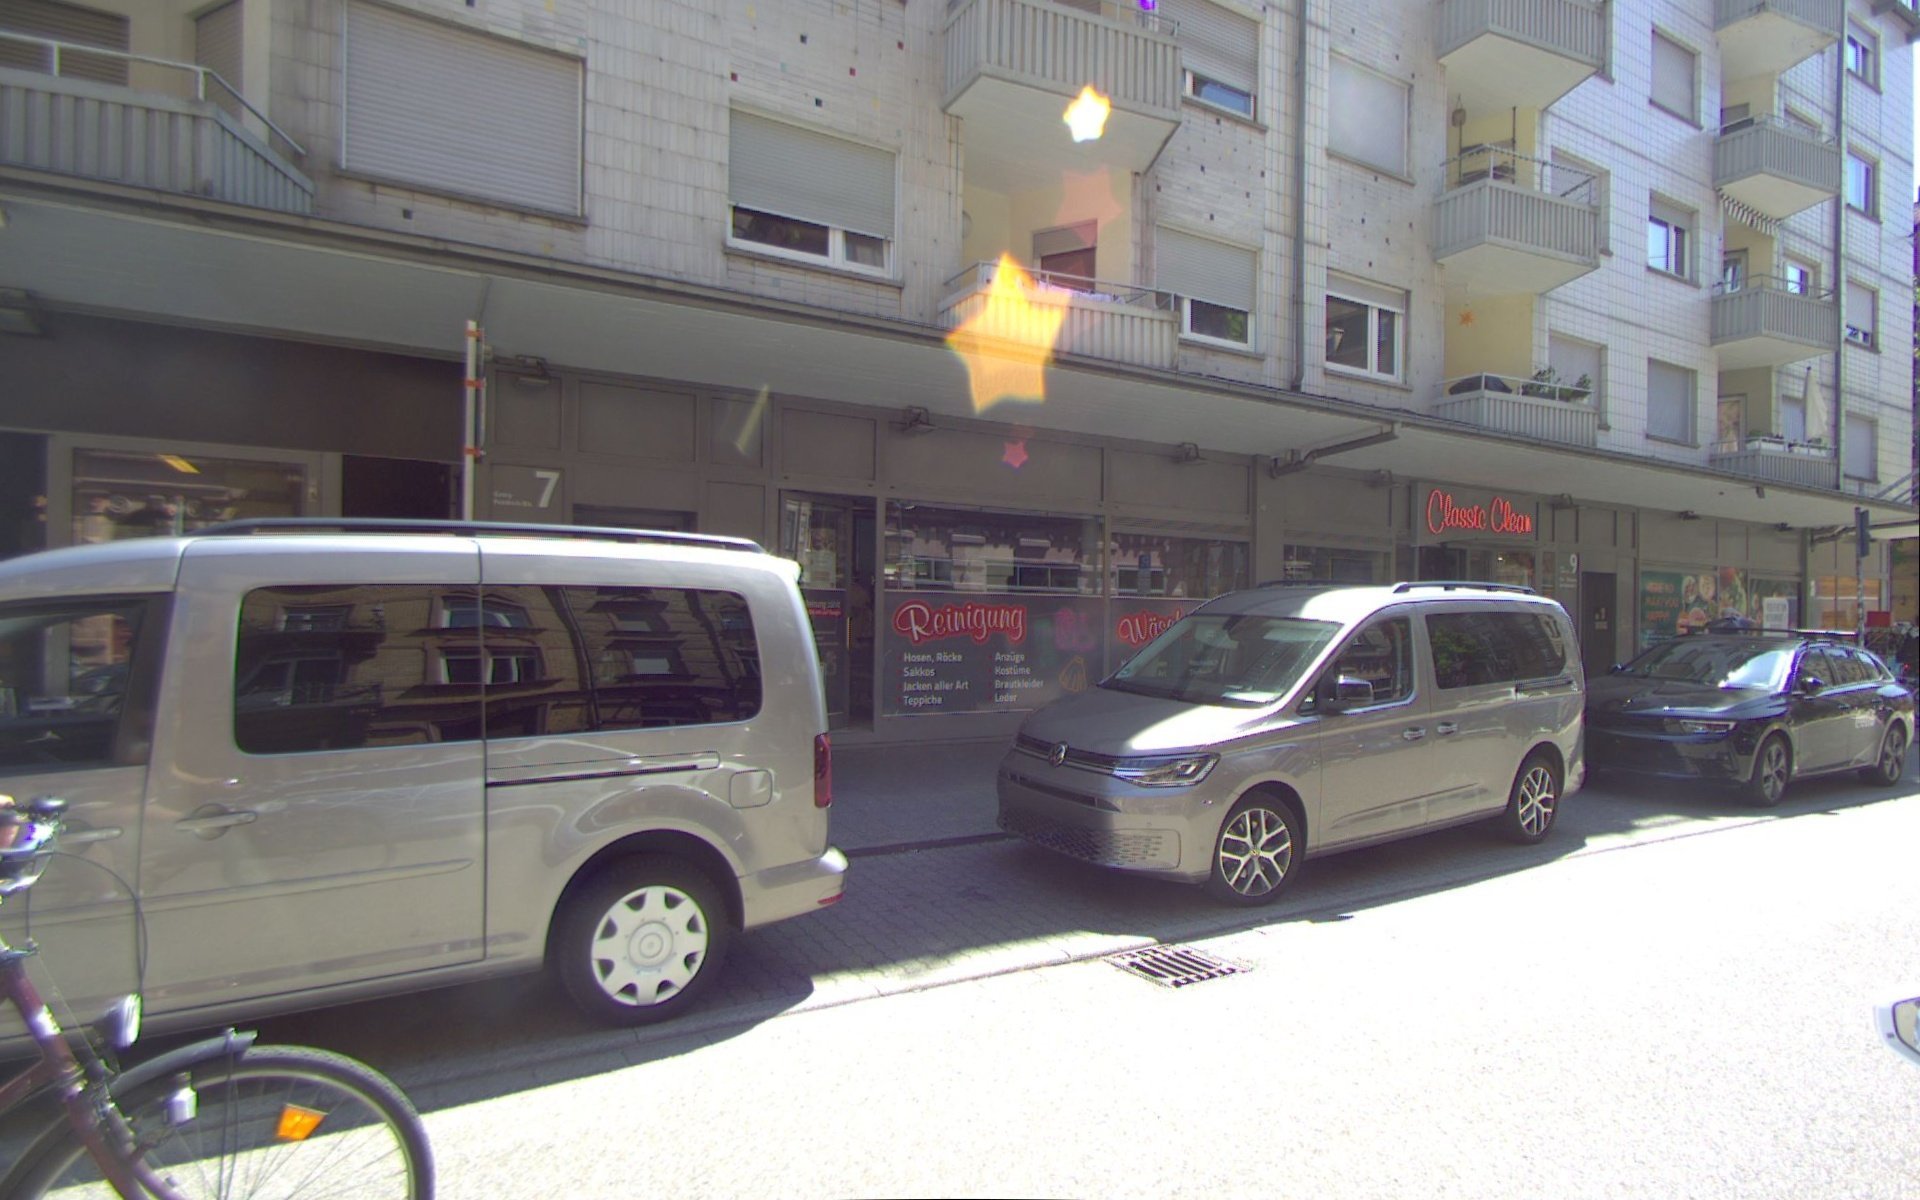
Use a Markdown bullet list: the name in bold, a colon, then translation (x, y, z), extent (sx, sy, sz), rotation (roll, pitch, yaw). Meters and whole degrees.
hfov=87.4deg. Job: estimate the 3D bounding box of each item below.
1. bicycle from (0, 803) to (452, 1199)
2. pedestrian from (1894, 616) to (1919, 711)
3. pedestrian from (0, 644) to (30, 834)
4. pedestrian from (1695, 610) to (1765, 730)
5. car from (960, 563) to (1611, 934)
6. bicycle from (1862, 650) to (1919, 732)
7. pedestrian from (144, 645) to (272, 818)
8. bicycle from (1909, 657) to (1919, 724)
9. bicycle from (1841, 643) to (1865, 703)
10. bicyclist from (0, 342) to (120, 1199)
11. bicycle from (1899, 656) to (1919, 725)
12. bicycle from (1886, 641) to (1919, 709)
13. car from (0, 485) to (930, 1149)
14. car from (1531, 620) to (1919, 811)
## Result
- **bicycle**: translation (-1.825, 0.972, 1.439), extent (1.917, 1.106, 0.600), rotation (1, -1, -31)
- **pedestrian**: translation (18.885, 1.237, 19.738), extent (0.927, 1.820, 0.527), rotation (1, -1, -30)
- **pedestrian**: translation (-6.091, 0.849, 6.155), extent (0.492, 1.141, 0.506), rotation (0, -1, 40)
- **pedestrian**: translation (11.510, 1.028, 15.028), extent (0.650, 1.749, 0.628), rotation (1, -1, -29)
- **car**: translation (2.435, 0.771, 6.997), extent (4.649, 1.835, 1.778), rotation (1, 0, -33)
- **bicycle**: translation (14.406, 1.370, 14.783), extent (0.521, 1.154, 1.574), rotation (1, 1, -33)
- **pedestrian**: translation (-5.202, 0.893, 6.972), extent (0.498, 1.141, 0.500), rotation (1, -1, -2)
- **bicycle**: translation (15.604, 1.451, 15.418), extent (0.332, 1.050, 1.439), rotation (1, 1, -33)
- **bicycle**: translation (17.648, 1.425, 19.852), extent (0.317, 1.101, 1.425), rotation (1, 0, 41)
- **bicyclist**: translation (-1.901, 0.500, 1.420), extent (0.967, 1.729, 0.620), rotation (1, -1, -30)
- **bicycle**: translation (15.233, 1.427, 15.155), extent (0.394, 1.044, 1.484), rotation (1, 1, -33)
- **bicycle**: translation (18.966, 1.453, 19.770), extent (1.988, 1.263, 0.532), rotation (1, -1, -30)
- **car**: translation (-2.668, 0.609, 3.835), extent (4.843, 1.853, 1.780), rotation (1, 0, -30)
- **car**: translation (7.898, 1.016, 10.169), extent (4.411, 1.545, 1.662), rotation (1, 0, -30)
